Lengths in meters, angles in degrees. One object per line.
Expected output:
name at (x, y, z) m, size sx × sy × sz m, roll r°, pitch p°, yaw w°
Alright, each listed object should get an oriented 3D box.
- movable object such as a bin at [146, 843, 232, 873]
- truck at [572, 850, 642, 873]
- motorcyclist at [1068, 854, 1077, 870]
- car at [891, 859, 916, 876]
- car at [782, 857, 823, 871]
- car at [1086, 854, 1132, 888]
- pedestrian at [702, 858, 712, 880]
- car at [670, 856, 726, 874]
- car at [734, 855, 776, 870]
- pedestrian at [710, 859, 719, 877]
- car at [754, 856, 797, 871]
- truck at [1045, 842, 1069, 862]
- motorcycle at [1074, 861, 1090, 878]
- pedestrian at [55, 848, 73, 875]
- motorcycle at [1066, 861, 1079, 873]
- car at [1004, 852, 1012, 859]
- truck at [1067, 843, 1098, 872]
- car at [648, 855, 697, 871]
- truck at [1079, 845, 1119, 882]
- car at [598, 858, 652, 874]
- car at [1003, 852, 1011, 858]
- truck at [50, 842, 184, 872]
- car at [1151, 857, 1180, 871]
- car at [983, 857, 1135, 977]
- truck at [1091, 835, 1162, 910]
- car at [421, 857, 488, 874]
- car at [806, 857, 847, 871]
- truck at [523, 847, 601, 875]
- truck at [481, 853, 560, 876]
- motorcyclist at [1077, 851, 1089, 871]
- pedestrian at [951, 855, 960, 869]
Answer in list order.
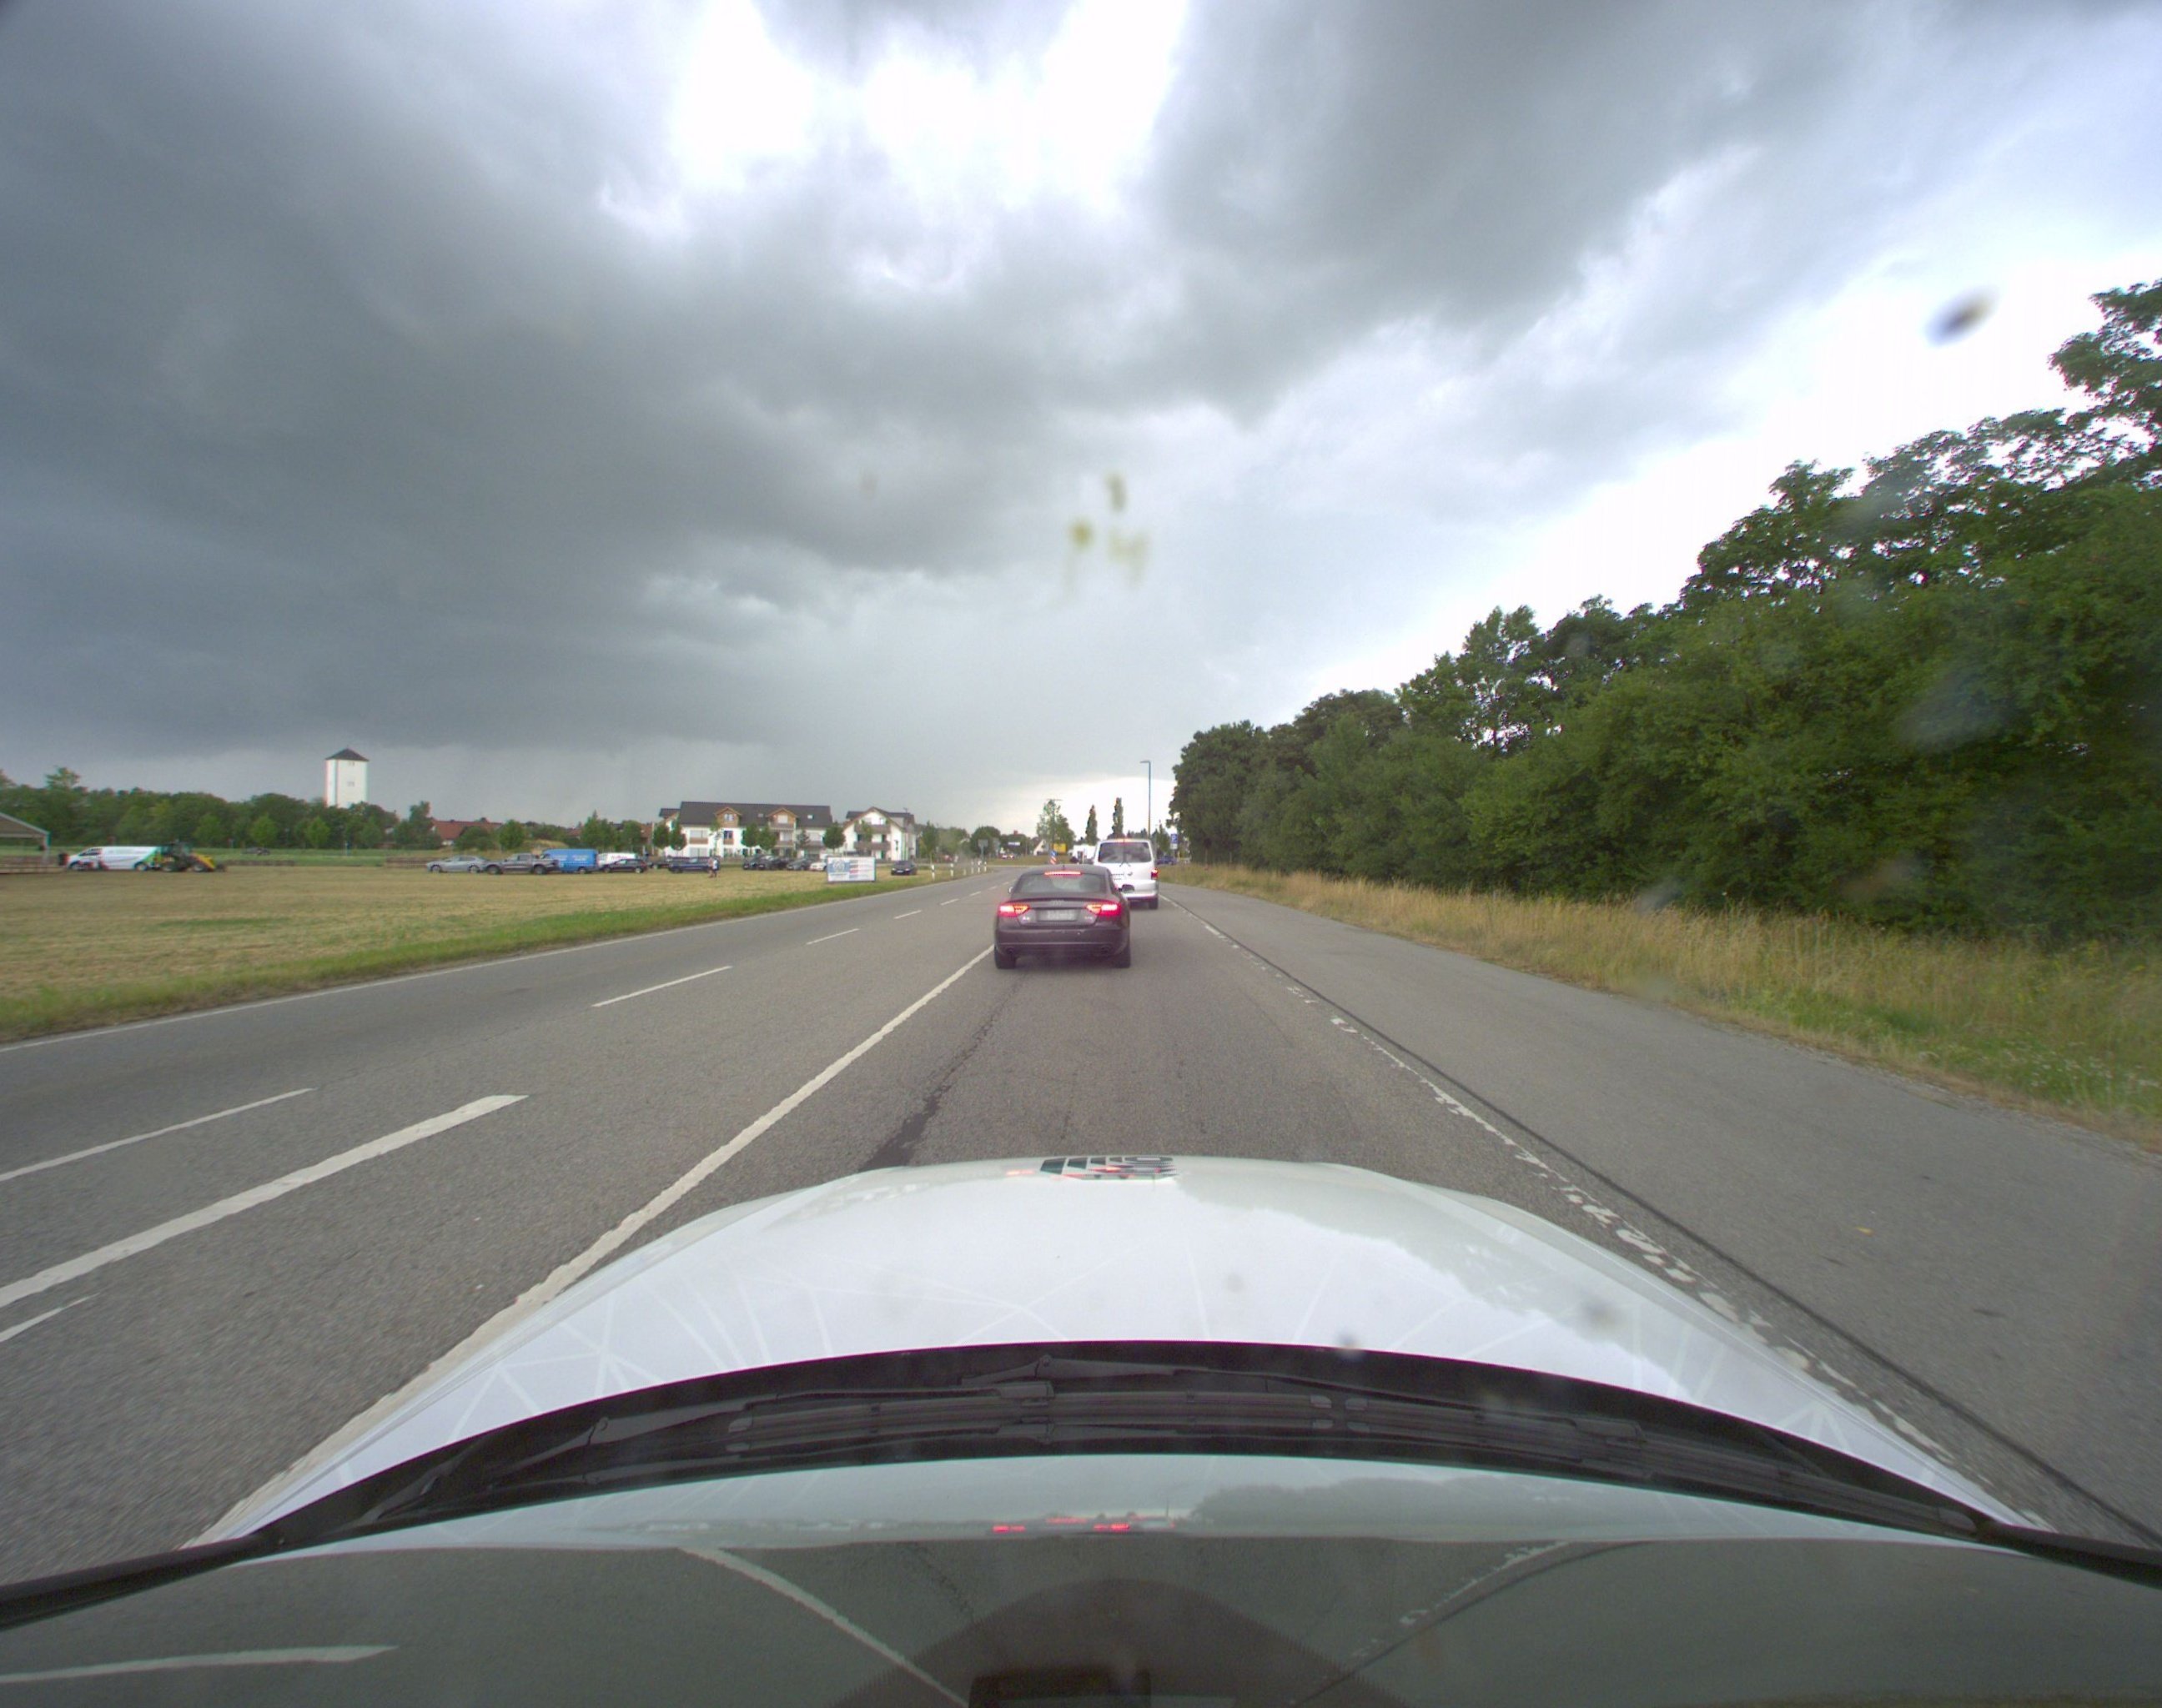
movable object such as a bin at (-68.219, 0.339, 62.360) m, size 4.005 × 2.243 × 1.870 m, roll 0°, pitch 0°, yaw -26°
truck at (-47.232, 0.754, 81.304) m, size 5.584 × 2.196 × 2.589 m, roll 0°, pitch 0°, yaw -21°
motorcyclist at (-0.734, 0.669, 69.882) m, size 0.782 × 1.356 × 0.854 m, roll 0°, pitch 0°, yaw 2°
car at (-16.054, 1.210, 73.859) m, size 1.993 × 1.442 × 3.989 m, roll 0°, pitch 1°, yaw -9°
car at (-29.883, 1.064, 87.529) m, size 1.977 × 1.536 × 4.233 m, roll 0°, pitch 0°, yaw 21°
car at (1.287, 0.749, 37.534) m, size 1.986 × 1.485 × 4.001 m, roll 0°, pitch 0°, yaw 2°
pedestrian at (-31.071, 1.253, 67.628) m, size 0.548 × 1.786 × 0.676 m, roll 0°, pitch -1°, yaw -9°
car at (-37.829, 1.066, 80.548) m, size 4.728 × 1.697 × 1.988 m, roll 0°, pitch 0°, yaw -18°
car at (-36.217, 0.959, 90.512) m, size 1.977 × 1.629 × 4.233 m, roll 0°, pitch 0°, yaw 21°
pedestrian at (-30.992, 1.160, 68.838) m, size 0.591 × 1.555 × 0.622 m, roll 0°, pitch -1°, yaw -17°
car at (-33.011, 0.981, 88.083) m, size 1.977 × 1.629 × 4.233 m, roll 0°, pitch 0°, yaw 21°
truck at (-4.692, -0.429, 156.120) m, size 3.573 × 3.578 × 9.930 m, roll 1°, pitch 0°, yaw -7°
motorcycle at (0.108, 1.067, 56.212) m, size 0.916 × 1.094 × 2.191 m, roll 0°, pitch 0°, yaw 4°
pedestrian at (-71.090, 0.511, 56.953) m, size 0.618 × 1.866 × 0.713 m, roll 0°, pitch -1°, yaw 44°
motorcycle at (-0.720, 1.116, 69.916) m, size 0.940 × 1.019 × 2.285 m, roll 0°, pitch 0°, yaw 2°
car at (-19.686, 0.393, 219.617) m, size 1.990 × 2.014 × 3.993 m, roll 1°, pitch 0°, yaw -5°
truck at (0.091, 0.313, 80.961) m, size 2.621 × 2.737 × 5.858 m, roll 1°, pitch 0°, yaw -4°
car at (-46.174, 1.001, 92.183) m, size 4.638 × 1.697 × 1.988 m, roll 0°, pitch 0°, yaw -18°
truck at (1.091, 0.543, 46.687) m, size 2.185 × 2.014 × 5.088 m, roll 0°, pitch 0°, yaw 3°
car at (-43.845, 1.159, 78.358) m, size 4.167 × 1.519 × 1.988 m, roll 0°, pitch 0°, yaw -18°
car at (-20.617, 0.234, 228.127) m, size 1.988 × 1.642 × 3.997 m, roll 1°, pitch 0°, yaw -2°
truck at (-74.721, 0.266, 63.310) m, size 6.074 × 2.217 × 2.698 m, roll 0°, pitch 0°, yaw -25°
car at (12.896, 1.553, 123.907) m, size 3.952 × 2.014 × 2.011 m, roll 1°, pitch 0°, yaw 22°
car at (-0.160, 0.786, 12.127) m, size 1.867 × 1.454 × 4.180 m, roll 0°, pitch 0°, yaw 3°
truck at (1.314, 0.488, 24.028) m, size 1.896 × 1.998 × 4.631 m, roll 0°, pitch 0°, yaw 3°
car at (-54.580, 0.996, 71.028) m, size 4.315 × 1.461 × 1.876 m, roll 0°, pitch 0°, yaw -24°
car at (-27.147, 1.046, 87.031) m, size 1.977 × 1.446 × 4.233 m, roll 0°, pitch 0°, yaw 21°
truck at (-46.911, 0.639, 73.767) m, size 5.467 × 2.446 × 2.377 m, roll 0°, pitch 0°, yaw -21°
truck at (-47.771, 0.852, 69.584) m, size 5.251 × 1.920 × 2.095 m, roll 0°, pitch 0°, yaw -24°
motorcyclist at (0.128, 0.488, 56.171) m, size 0.768 × 1.383 × 0.821 m, roll 0°, pitch 0°, yaw 4°
pedestrian at (-13.943, 0.910, 90.361) m, size 0.694 × 1.586 × 0.661 m, roll 0°, pitch -1°, yaw 24°
